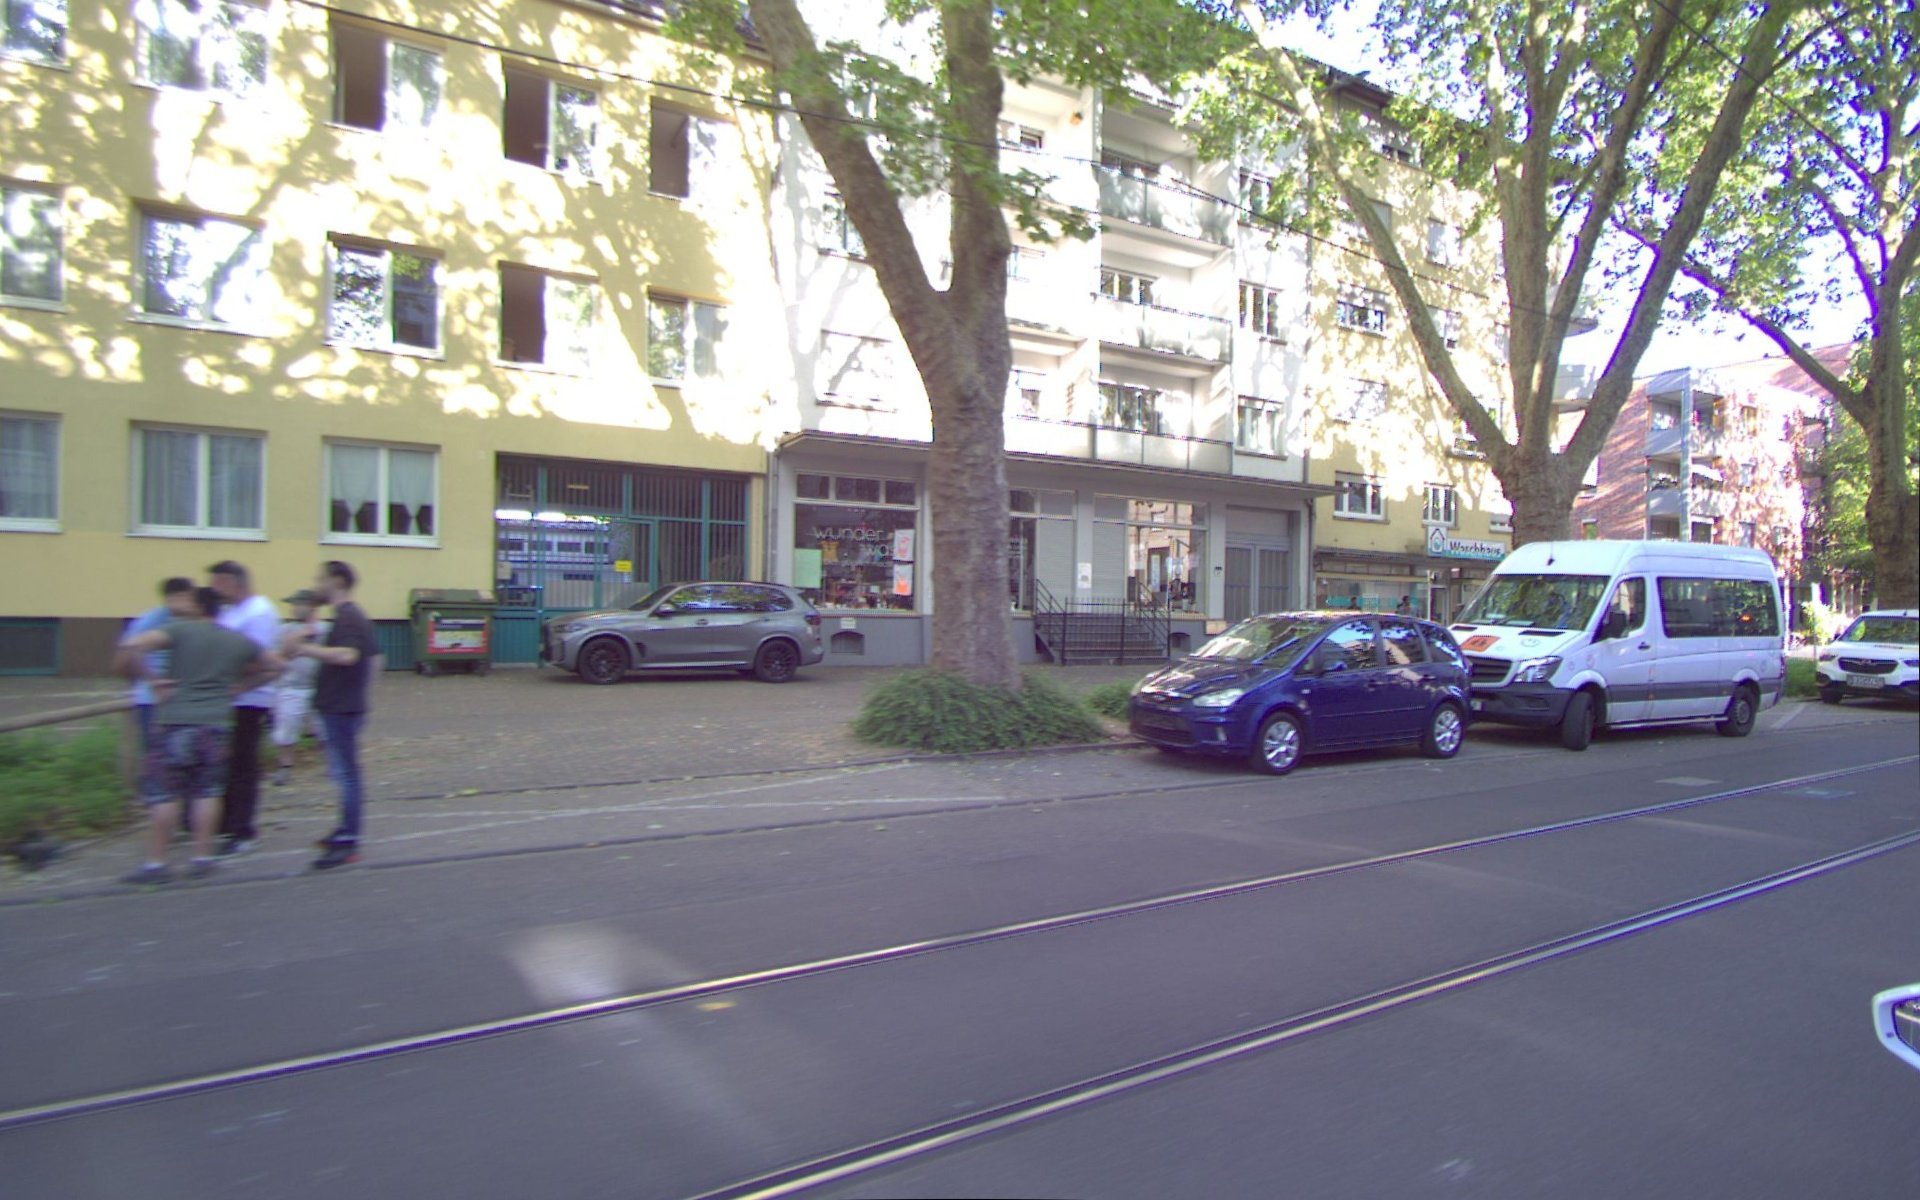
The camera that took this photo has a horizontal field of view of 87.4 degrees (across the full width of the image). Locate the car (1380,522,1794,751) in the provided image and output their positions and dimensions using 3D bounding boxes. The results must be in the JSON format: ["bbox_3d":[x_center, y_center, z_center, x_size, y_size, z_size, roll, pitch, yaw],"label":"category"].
[{"bbox_3d":[8.692,0.480,13.780,5.948,2.612,2.099,2,0,-28],"label":"car"}]

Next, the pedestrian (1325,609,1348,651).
[{"bbox_3d":[10.432,0.826,27.815,0.434,1.120,0.417,1,0,-38],"label":"pedestrian"}]

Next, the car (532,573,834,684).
[{"bbox_3d":[-4.880,0.497,17.831,4.837,1.756,1.985,2,0,-28],"label":"car"}]

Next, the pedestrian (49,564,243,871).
[{"bbox_3d":[-5.019,0.681,6.251,0.707,1.758,0.767,1,0,-22],"label":"pedestrian"}]

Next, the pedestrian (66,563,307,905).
[{"bbox_3d":[-4.297,0.697,5.623,0.755,1.758,0.714,1,0,9],"label":"pedestrian"}]

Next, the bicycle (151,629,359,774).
[{"bbox_3d":[-6.163,0.838,8.918,0.558,1.094,1.851,1,0,-1],"label":"bicycle"}]

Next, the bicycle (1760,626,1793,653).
[{"bbox_3d":[34.923,1.684,42.952,1.619,1.099,0.539,-1,1,-30],"label":"bicycle"}]

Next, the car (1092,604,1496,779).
[{"bbox_3d":[3.740,0.897,11.117,4.233,1.582,1.907,2,0,-30],"label":"car"}]

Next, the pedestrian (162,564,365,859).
[{"bbox_3d":[-4.453,0.668,6.465,0.699,1.758,0.771,1,0,13],"label":"pedestrian"}]

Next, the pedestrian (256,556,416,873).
[{"bbox_3d":[-3.811,0.655,6.197,0.761,1.800,0.708,1,0,-29],"label":"pedestrian"}]

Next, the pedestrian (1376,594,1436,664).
[{"bbox_3d":[12.484,0.795,28.141,1.047,1.889,1.101,1,0,-32],"label":"pedestrian"}]

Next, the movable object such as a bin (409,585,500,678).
[{"bbox_3d":[-8.738,0.526,17.338,1.327,1.522,1.225,1,0,-30],"label":"movable object such as a bin"}]

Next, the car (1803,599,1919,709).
[{"bbox_3d":[18.067,0.987,19.126,4.268,1.875,1.754,2,0,-31],"label":"car"}]

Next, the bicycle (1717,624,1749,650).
[{"bbox_3d":[34.266,1.643,44.515,1.619,1.099,0.539,-1,1,-30],"label":"bicycle"}]

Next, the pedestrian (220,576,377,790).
[{"bbox_3d":[-5.360,0.642,8.171,0.699,1.631,0.771,1,0,13],"label":"pedestrian"}]

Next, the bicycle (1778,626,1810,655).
[{"bbox_3d":[35.219,1.701,42.402,1.519,1.099,0.539,-2,2,-30],"label":"bicycle"}]
